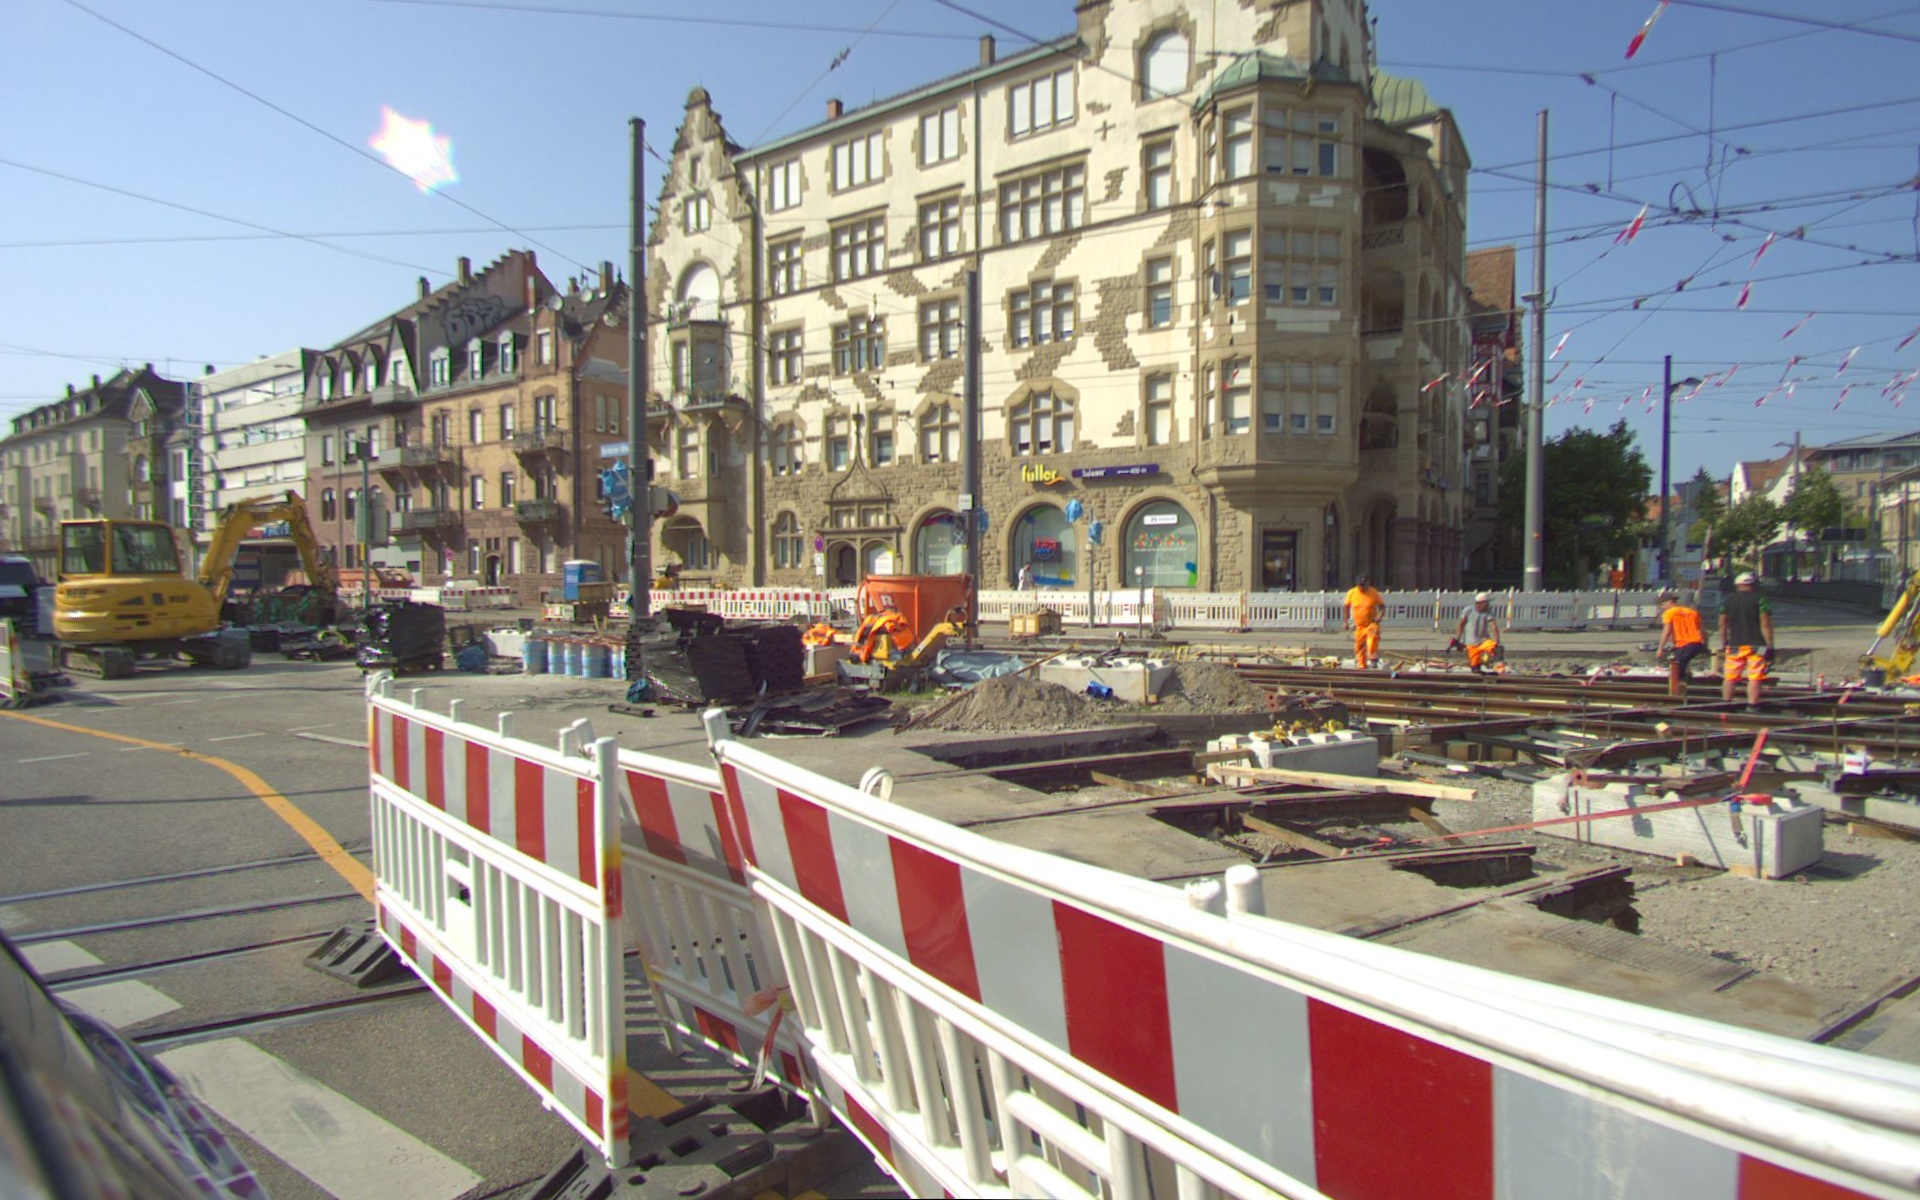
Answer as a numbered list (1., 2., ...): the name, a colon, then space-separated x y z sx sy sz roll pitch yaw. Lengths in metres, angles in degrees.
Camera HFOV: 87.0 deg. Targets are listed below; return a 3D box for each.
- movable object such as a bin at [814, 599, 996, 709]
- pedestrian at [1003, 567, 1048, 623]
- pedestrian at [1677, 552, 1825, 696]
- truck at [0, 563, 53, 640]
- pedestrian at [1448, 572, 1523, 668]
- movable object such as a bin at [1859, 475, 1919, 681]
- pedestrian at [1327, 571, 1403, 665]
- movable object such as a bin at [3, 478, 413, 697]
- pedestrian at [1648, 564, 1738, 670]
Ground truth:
1. movable object such as a bin: -0.692 0.592 11.996 2.290 1.178 0.742 0 0 42
2. pedestrian: 2.119 -0.162 32.658 1.143 1.754 0.907 0 0 35
3. pedestrian: 9.361 0.261 11.995 1.126 1.601 1.023 -1 0 -29
4. truck: -30.908 0.059 31.986 7.040 2.238 2.137 0 0 38
5. pedestrian: 8.338 0.291 16.032 0.915 1.453 1.132 0 1 35
6. movable object such as a bin: 19.490 -0.379 15.463 8.330 3.355 2.821 0 0 36
7. pedestrian: 6.576 0.268 16.407 0.915 1.453 1.132 0 1 35
8. movable object such as a bin: -13.453 -0.238 18.845 2.097 3.371 6.134 -1 1 15
9. pedestrian: 10.600 0.231 14.661 1.018 1.453 1.132 0 1 35
